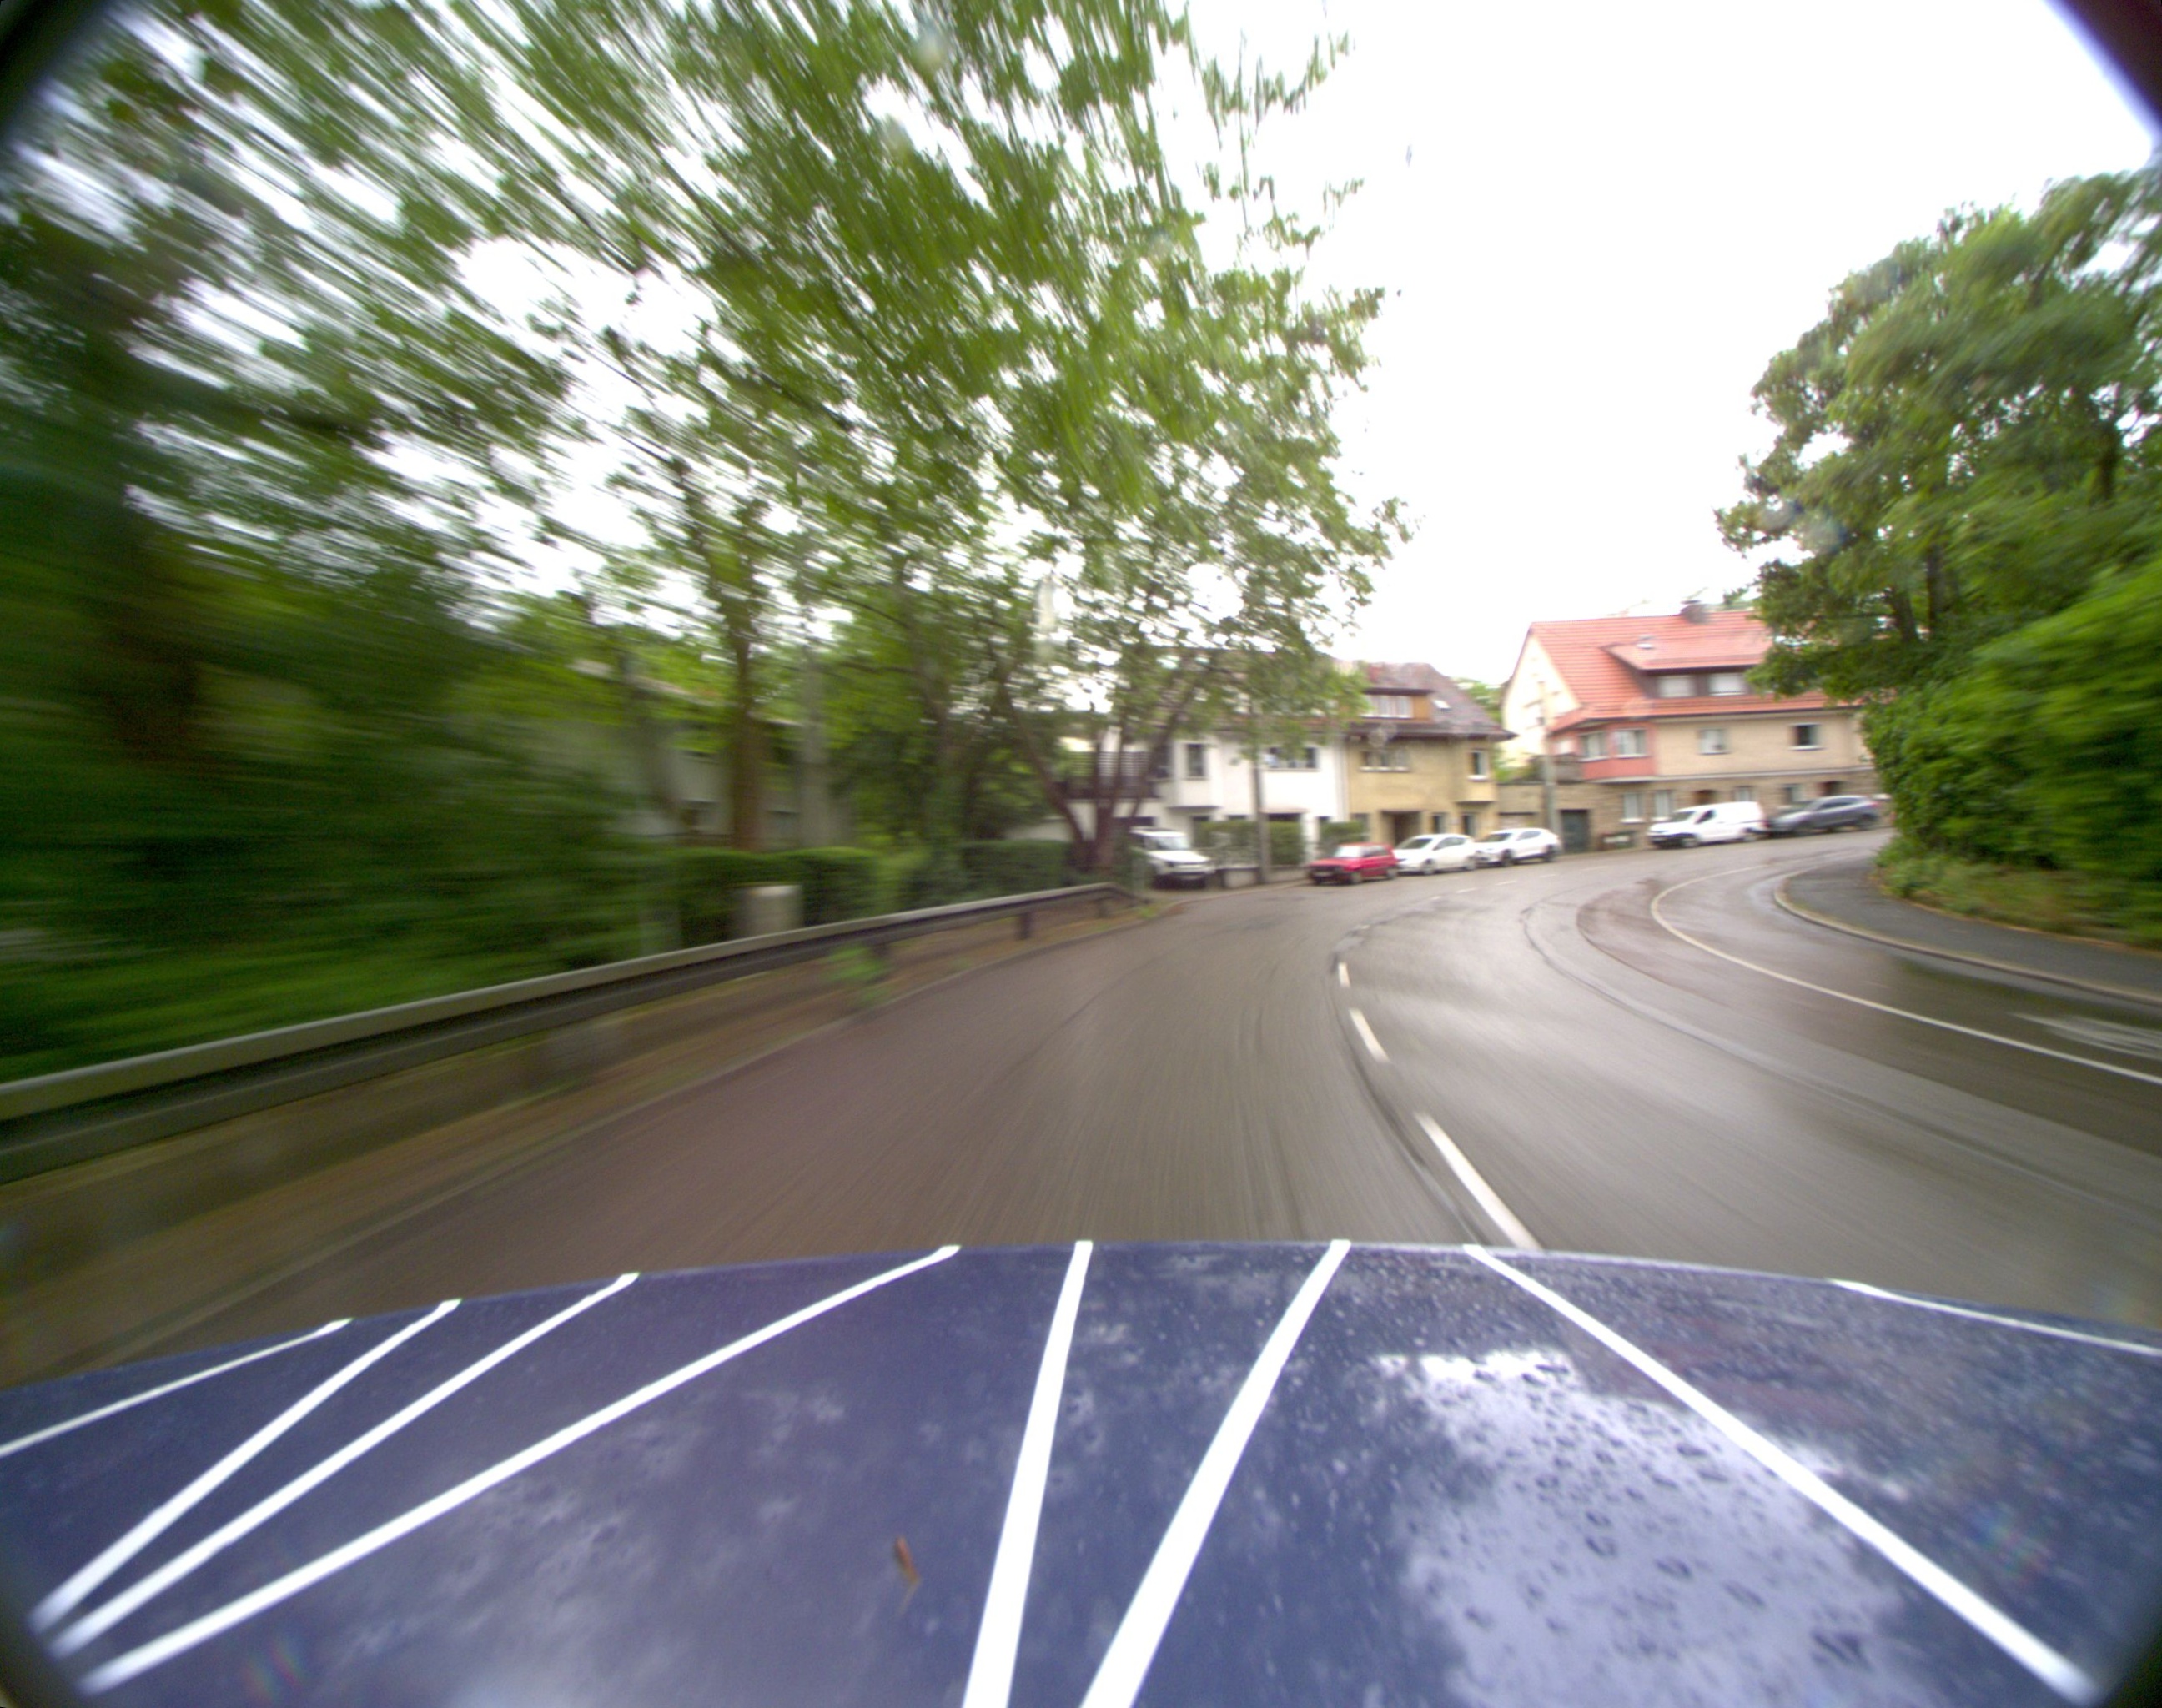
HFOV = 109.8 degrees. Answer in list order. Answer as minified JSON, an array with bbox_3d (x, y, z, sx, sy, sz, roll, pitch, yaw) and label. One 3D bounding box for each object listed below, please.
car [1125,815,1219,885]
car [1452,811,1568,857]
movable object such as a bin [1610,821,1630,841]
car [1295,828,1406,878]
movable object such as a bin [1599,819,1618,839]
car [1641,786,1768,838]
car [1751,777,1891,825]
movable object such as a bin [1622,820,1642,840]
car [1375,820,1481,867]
[{"bbox_3d":[3.175,-0.240,27.418,2.000,1.835,4.398,-3,9,-12],"label":"car"},{"bbox_3d":[18.031,-0.845,31.931,4.419,1.529,1.916,-5,1,-24],"label":"car"},{"bbox_3d":[26.385,-1.112,37.177,0.512,0.917,0.582,-5,2,3],"label":"movable object such as a bin"},{"bbox_3d":[9.603,-0.064,26.898,4.202,1.359,1.781,-6,1,-41],"label":"car"},{"bbox_3d":[25.803,-1.236,37.178,0.512,0.917,0.582,-5,2,3],"label":"movable object such as a bin"},{"bbox_3d":[28.290,-1.889,34.543,4.324,1.780,1.711,-5,-2,-4],"label":"car"},{"bbox_3d":[33.440,-2.354,34.414,4.406,1.595,1.621,-6,-1,6],"label":"car"},{"bbox_3d":[26.918,-1.166,37.140,0.512,0.917,0.582,-5,2,3],"label":"movable object such as a bin"},{"bbox_3d":[13.612,-0.421,29.802,3.828,1.506,1.767,-5,1,-29],"label":"car"}]
